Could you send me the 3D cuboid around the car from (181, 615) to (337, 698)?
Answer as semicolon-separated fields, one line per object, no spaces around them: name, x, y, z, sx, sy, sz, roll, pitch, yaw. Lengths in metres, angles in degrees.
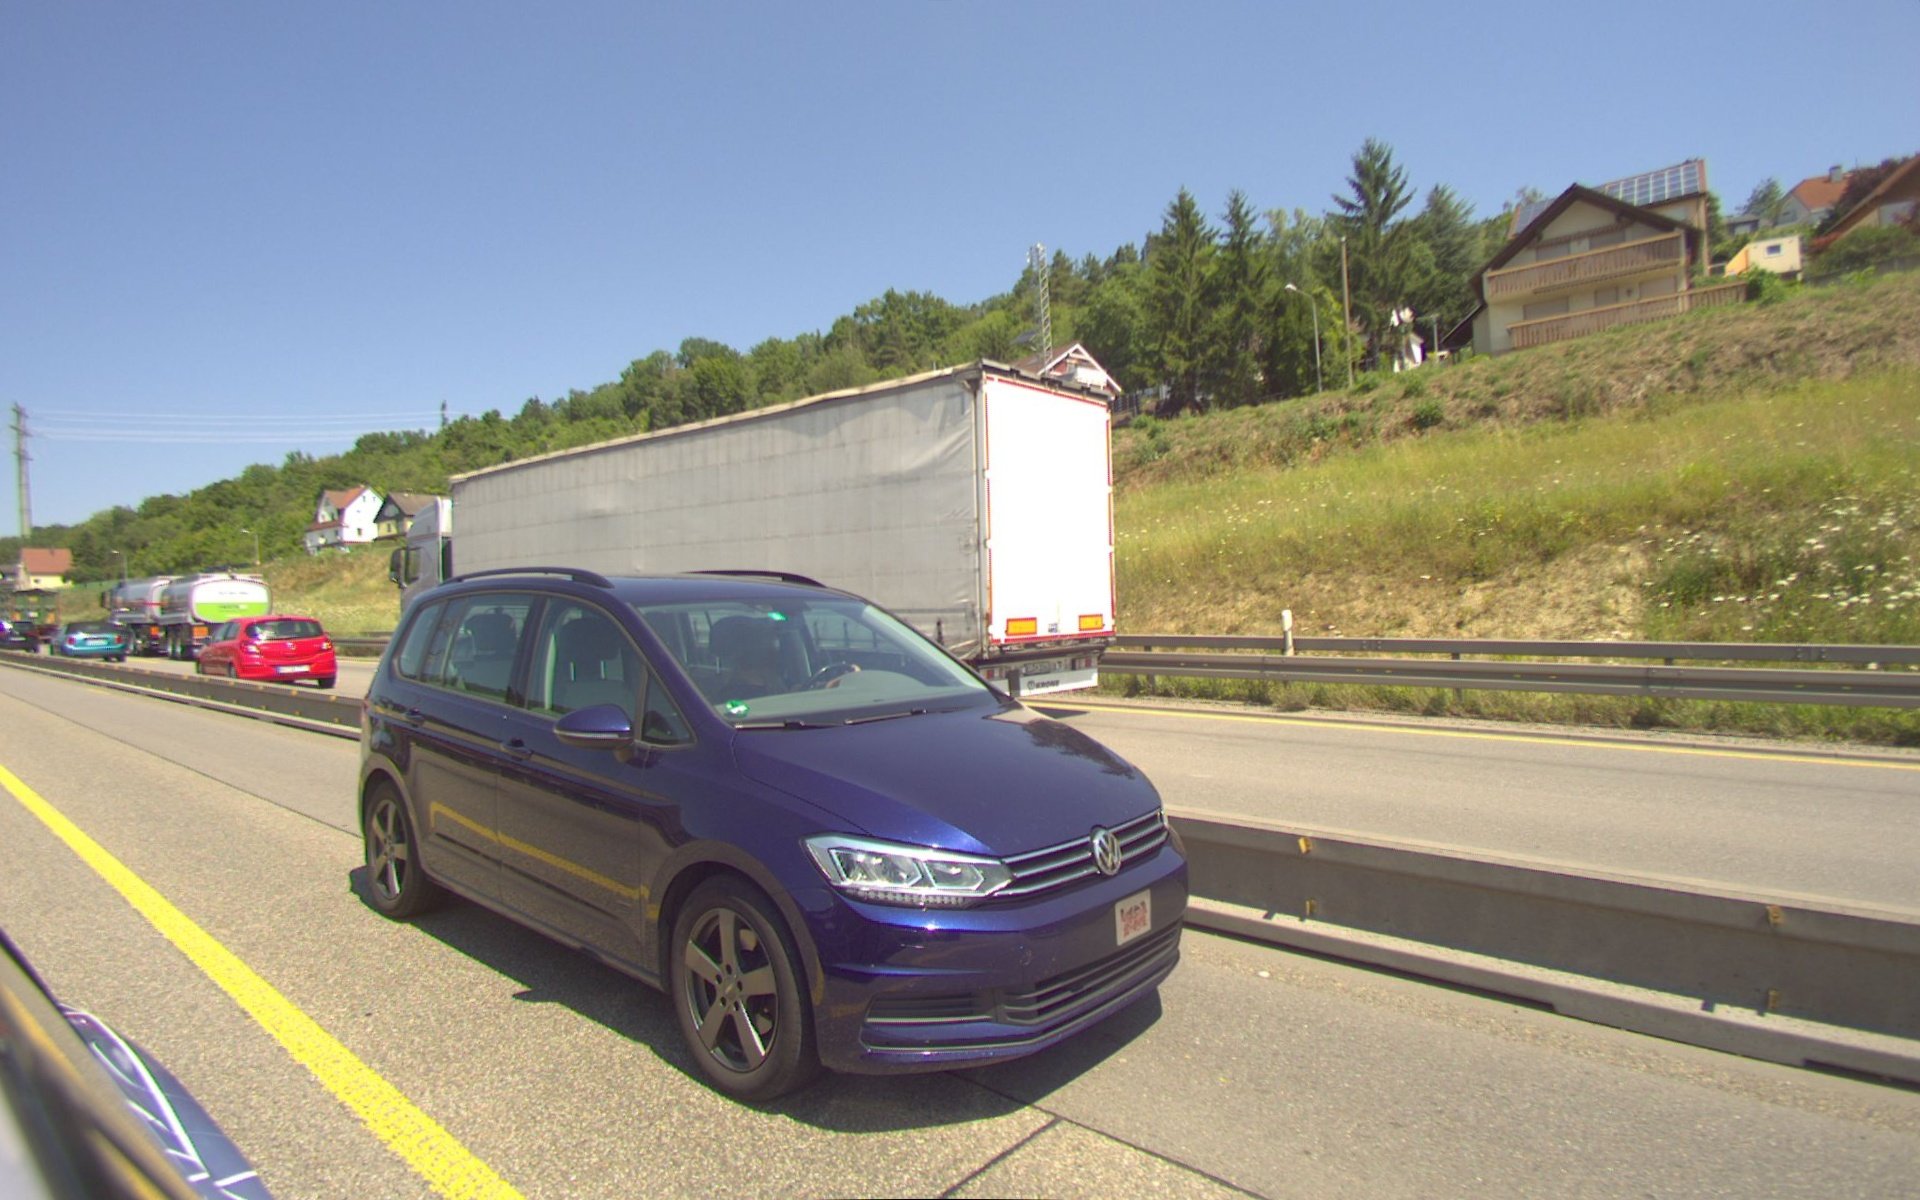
car;-14.087;1.069;20.267;3.998;1.477;1.652;-2;-1;41

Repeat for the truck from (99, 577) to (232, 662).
truck;-32.789;0.808;41.608;8.955;3.166;2.698;-2;0;42

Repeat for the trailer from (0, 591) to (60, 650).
trailer;-66.862;1.471;72.047;10.521;3.968;2.882;-2;-1;41

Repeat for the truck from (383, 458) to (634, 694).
truck;-9.375;-0.388;20.805;5.286;4.213;2.717;-2;-1;41

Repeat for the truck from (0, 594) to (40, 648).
truck;-71.405;1.601;76.075;4.176;3.968;2.864;-2;-1;41

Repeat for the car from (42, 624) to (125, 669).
car;-30.359;1.577;35.034;3.903;1.405;1.648;-2;-1;41

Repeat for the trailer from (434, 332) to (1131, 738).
trailer;-4.057;-0.556;16.146;13.971;4.213;2.757;-1;-1;41

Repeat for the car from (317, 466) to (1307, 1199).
car;-1.096;0.622;4.509;4.650;1.731;1.757;-2;-1;42

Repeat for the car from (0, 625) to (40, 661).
car;-46.066;2.051;49.044;4.497;1.647;1.700;-2;0;41

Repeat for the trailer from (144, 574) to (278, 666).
trailer;-27.017;0.715;36.422;6.367;3.023;2.585;-2;0;41
